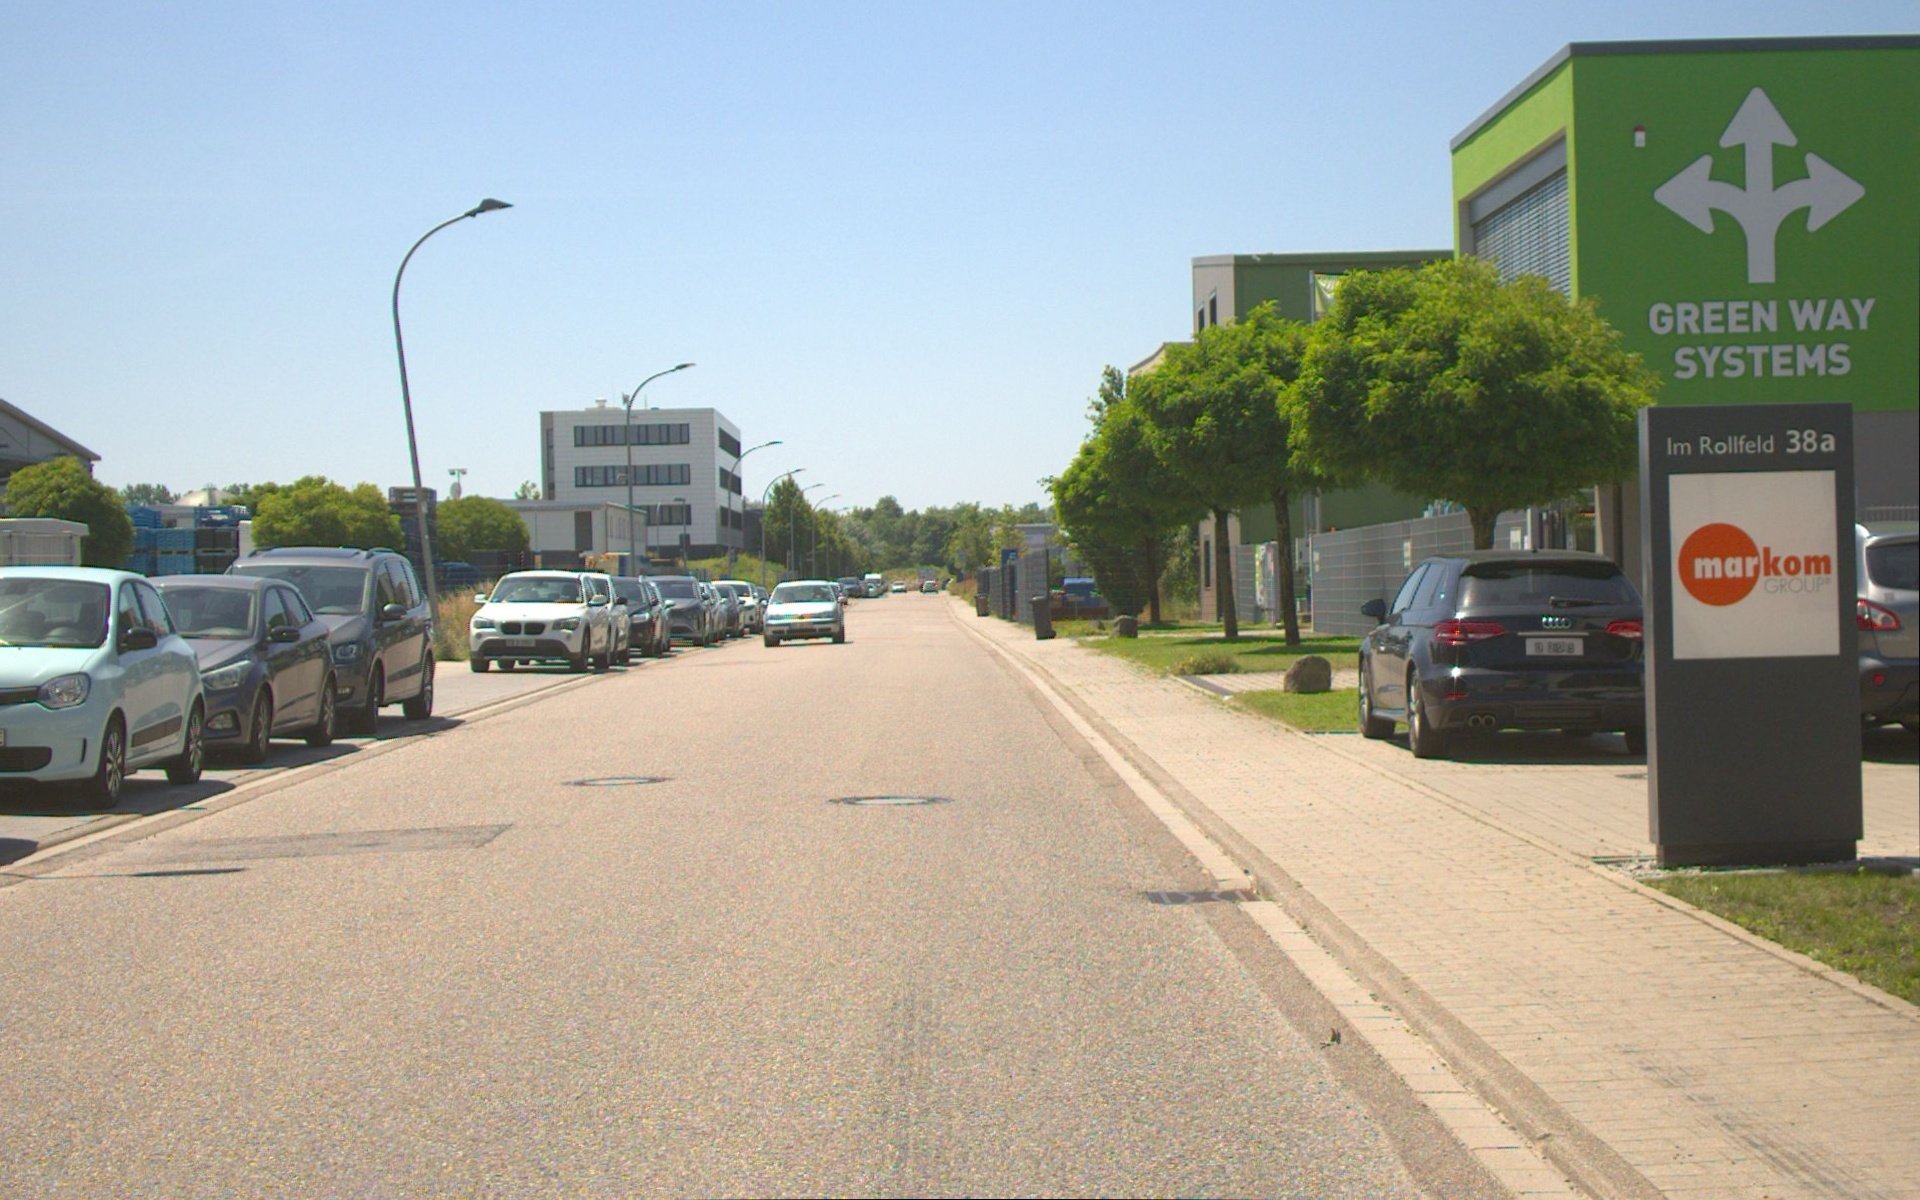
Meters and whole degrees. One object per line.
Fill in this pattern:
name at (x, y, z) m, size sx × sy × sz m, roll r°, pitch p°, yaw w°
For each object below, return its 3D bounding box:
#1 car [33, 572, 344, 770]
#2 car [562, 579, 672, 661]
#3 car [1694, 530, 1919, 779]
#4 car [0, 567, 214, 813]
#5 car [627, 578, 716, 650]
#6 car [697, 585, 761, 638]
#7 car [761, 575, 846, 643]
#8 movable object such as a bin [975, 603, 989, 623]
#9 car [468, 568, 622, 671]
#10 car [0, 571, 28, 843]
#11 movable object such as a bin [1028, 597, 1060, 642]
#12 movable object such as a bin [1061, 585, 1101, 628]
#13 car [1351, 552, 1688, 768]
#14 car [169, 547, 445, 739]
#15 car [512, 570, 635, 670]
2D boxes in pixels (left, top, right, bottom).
car at (-6.245, 0.527, 28.234) m, size 1.634 × 1.495 × 3.971 m, roll 0°, pitch 0°, yaw 0°
car at (-6.575, 0.367, 66.267) m, size 1.763 × 1.512 × 4.380 m, roll 0°, pitch 0°, yaw -1°
car at (6.551, 0.344, 24.535) m, size 1.723 × 1.627 × 4.022 m, roll 0°, pitch 0°, yaw -1°
car at (-6.239, 0.546, 23.312) m, size 1.634 × 1.531 × 3.658 m, roll 0°, pitch 0°, yaw -1°
car at (-6.638, 0.315, 79.486) m, size 1.790 × 1.601 × 4.463 m, roll 0°, pitch 0°, yaw -1°
car at (-7.008, 0.352, 104.686) m, size 1.769 × 1.587 × 4.360 m, roll 0°, pitch 0°, yaw -2°
car at (-3.513, 0.181, 77.830) m, size 1.704 × 1.406 × 4.784 m, roll -3°, pitch 0°, yaw -1°
movable object such as a bin at (1.031, 0.614, 162.633) m, size 0.552 × 0.925 × 0.522 m, roll -5°, pitch 1°, yaw 4°
car at (-6.411, 0.289, 53.498) m, size 1.787 × 1.537 × 4.364 m, roll 0°, pitch 0°, yaw 1°
car at (-6.207, 0.611, 17.636) m, size 1.703 × 1.531 × 4.572 m, roll 0°, pitch 0°, yaw -1°
movable object such as a bin at (1.816, 0.425, 74.169) m, size 0.552 × 0.925 × 0.521 m, roll -4°, pitch -1°, yaw 9°
movable object such as a bin at (4.250, 0.234, 120.885) m, size 1.334 × 1.454 × 0.948 m, roll -1°, pitch 0°, yaw -1°
car at (3.929, 0.380, 24.779) m, size 1.692 × 1.423 × 4.246 m, roll 0°, pitch 0°, yaw -1°
car at (-6.210, 0.369, 33.172) m, size 1.802 × 1.714 × 4.622 m, roll 0°, pitch 0°, yaw 0°
car at (-6.569, 0.330, 58.730) m, size 1.787 × 1.651 × 3.769 m, roll 0°, pitch 0°, yaw -2°
